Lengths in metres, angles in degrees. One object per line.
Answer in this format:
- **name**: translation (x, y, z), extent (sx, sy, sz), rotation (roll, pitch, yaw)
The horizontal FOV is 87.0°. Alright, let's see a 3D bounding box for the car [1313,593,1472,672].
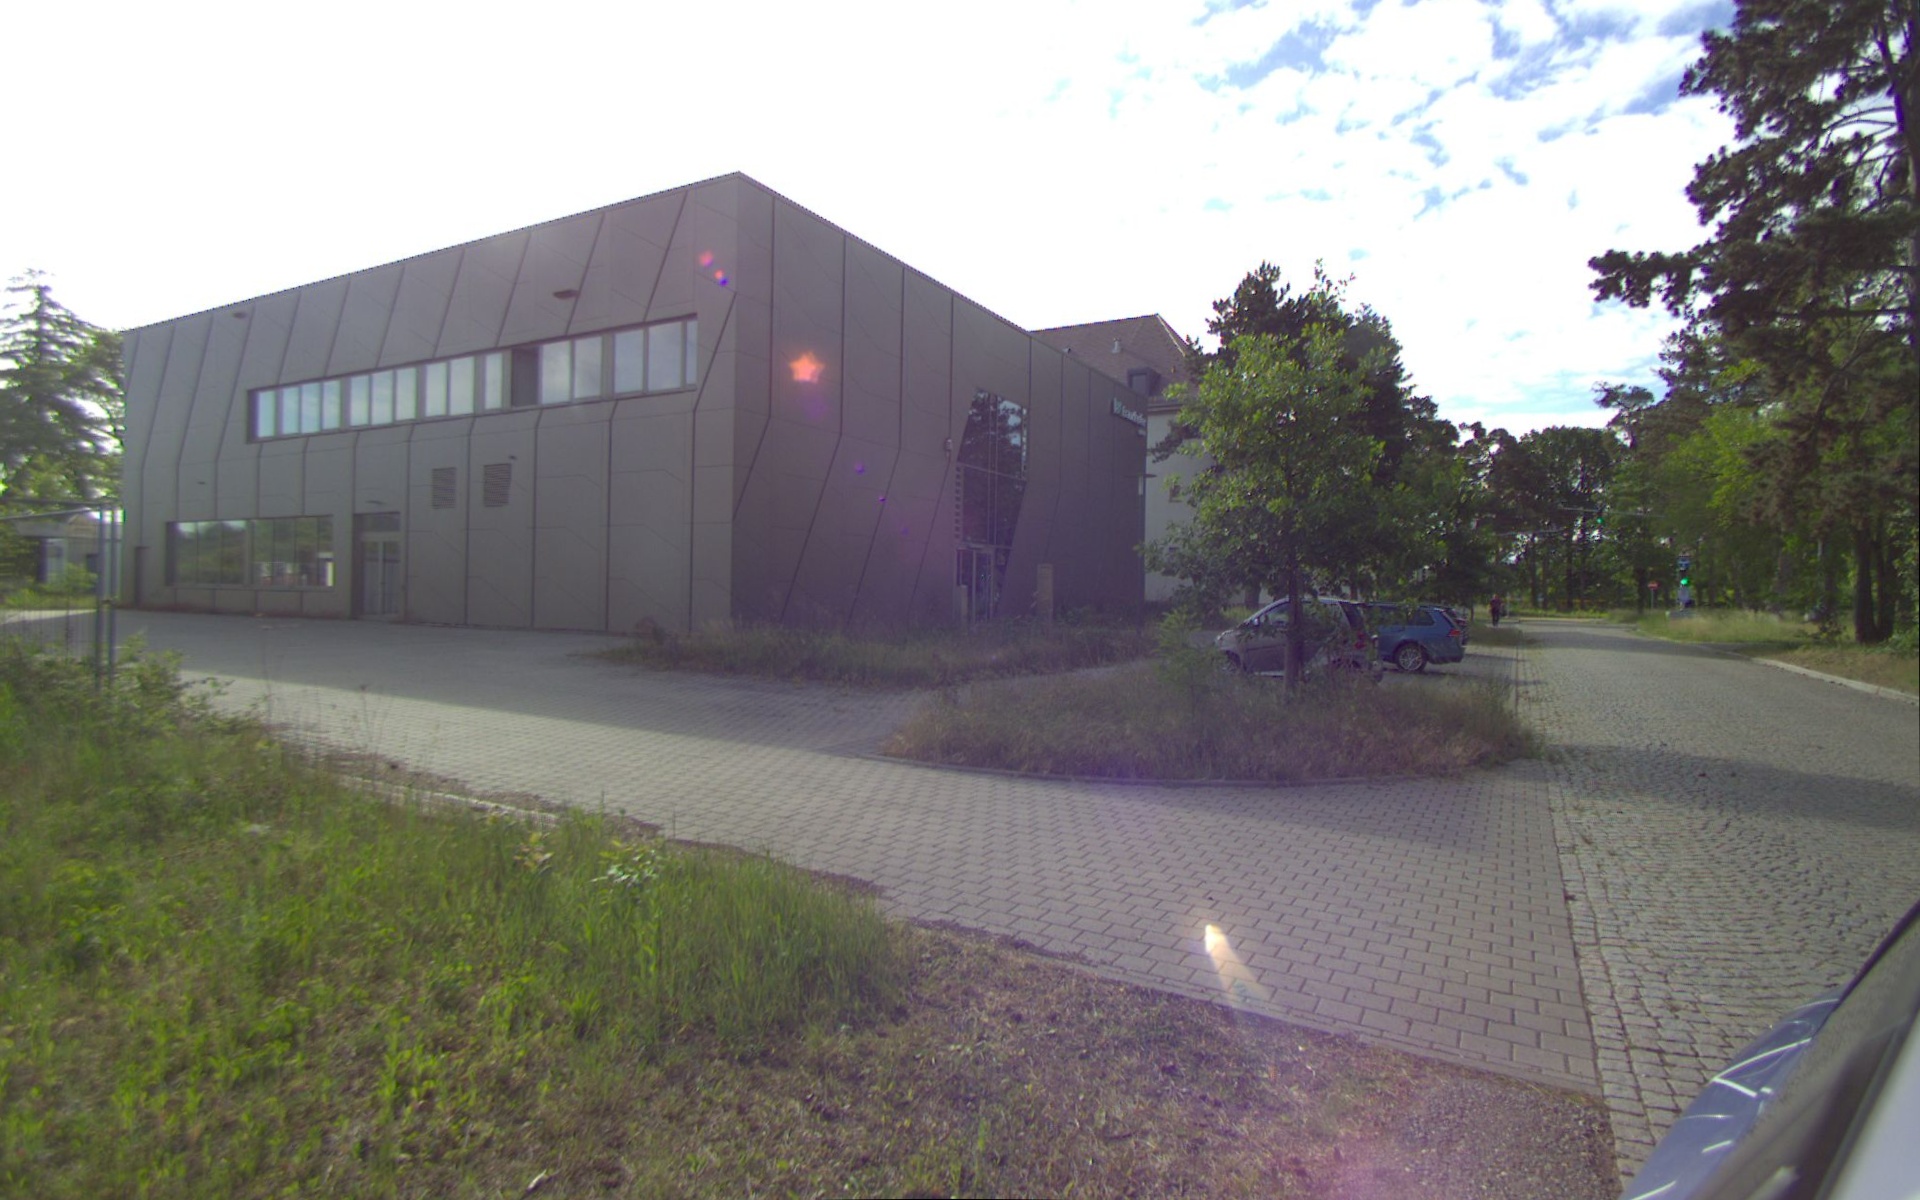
- **car**: translation (9.522, 0.675, 22.343), extent (3.063, 1.475, 1.479), rotation (3, 1, 26)

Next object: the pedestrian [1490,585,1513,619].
- **pedestrian**: translation (30.341, 0.104, 56.691), extent (0.945, 1.867, 0.951), rotation (1, 0, 16)

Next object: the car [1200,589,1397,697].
- **car**: translation (5.460, 0.628, 16.360), extent (2.750, 1.569, 1.408), rotation (1, 0, 34)

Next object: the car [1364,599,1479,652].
- **car**: translation (13.878, 0.739, 30.542), extent (3.060, 1.468, 1.479), rotation (1, 0, 24)
